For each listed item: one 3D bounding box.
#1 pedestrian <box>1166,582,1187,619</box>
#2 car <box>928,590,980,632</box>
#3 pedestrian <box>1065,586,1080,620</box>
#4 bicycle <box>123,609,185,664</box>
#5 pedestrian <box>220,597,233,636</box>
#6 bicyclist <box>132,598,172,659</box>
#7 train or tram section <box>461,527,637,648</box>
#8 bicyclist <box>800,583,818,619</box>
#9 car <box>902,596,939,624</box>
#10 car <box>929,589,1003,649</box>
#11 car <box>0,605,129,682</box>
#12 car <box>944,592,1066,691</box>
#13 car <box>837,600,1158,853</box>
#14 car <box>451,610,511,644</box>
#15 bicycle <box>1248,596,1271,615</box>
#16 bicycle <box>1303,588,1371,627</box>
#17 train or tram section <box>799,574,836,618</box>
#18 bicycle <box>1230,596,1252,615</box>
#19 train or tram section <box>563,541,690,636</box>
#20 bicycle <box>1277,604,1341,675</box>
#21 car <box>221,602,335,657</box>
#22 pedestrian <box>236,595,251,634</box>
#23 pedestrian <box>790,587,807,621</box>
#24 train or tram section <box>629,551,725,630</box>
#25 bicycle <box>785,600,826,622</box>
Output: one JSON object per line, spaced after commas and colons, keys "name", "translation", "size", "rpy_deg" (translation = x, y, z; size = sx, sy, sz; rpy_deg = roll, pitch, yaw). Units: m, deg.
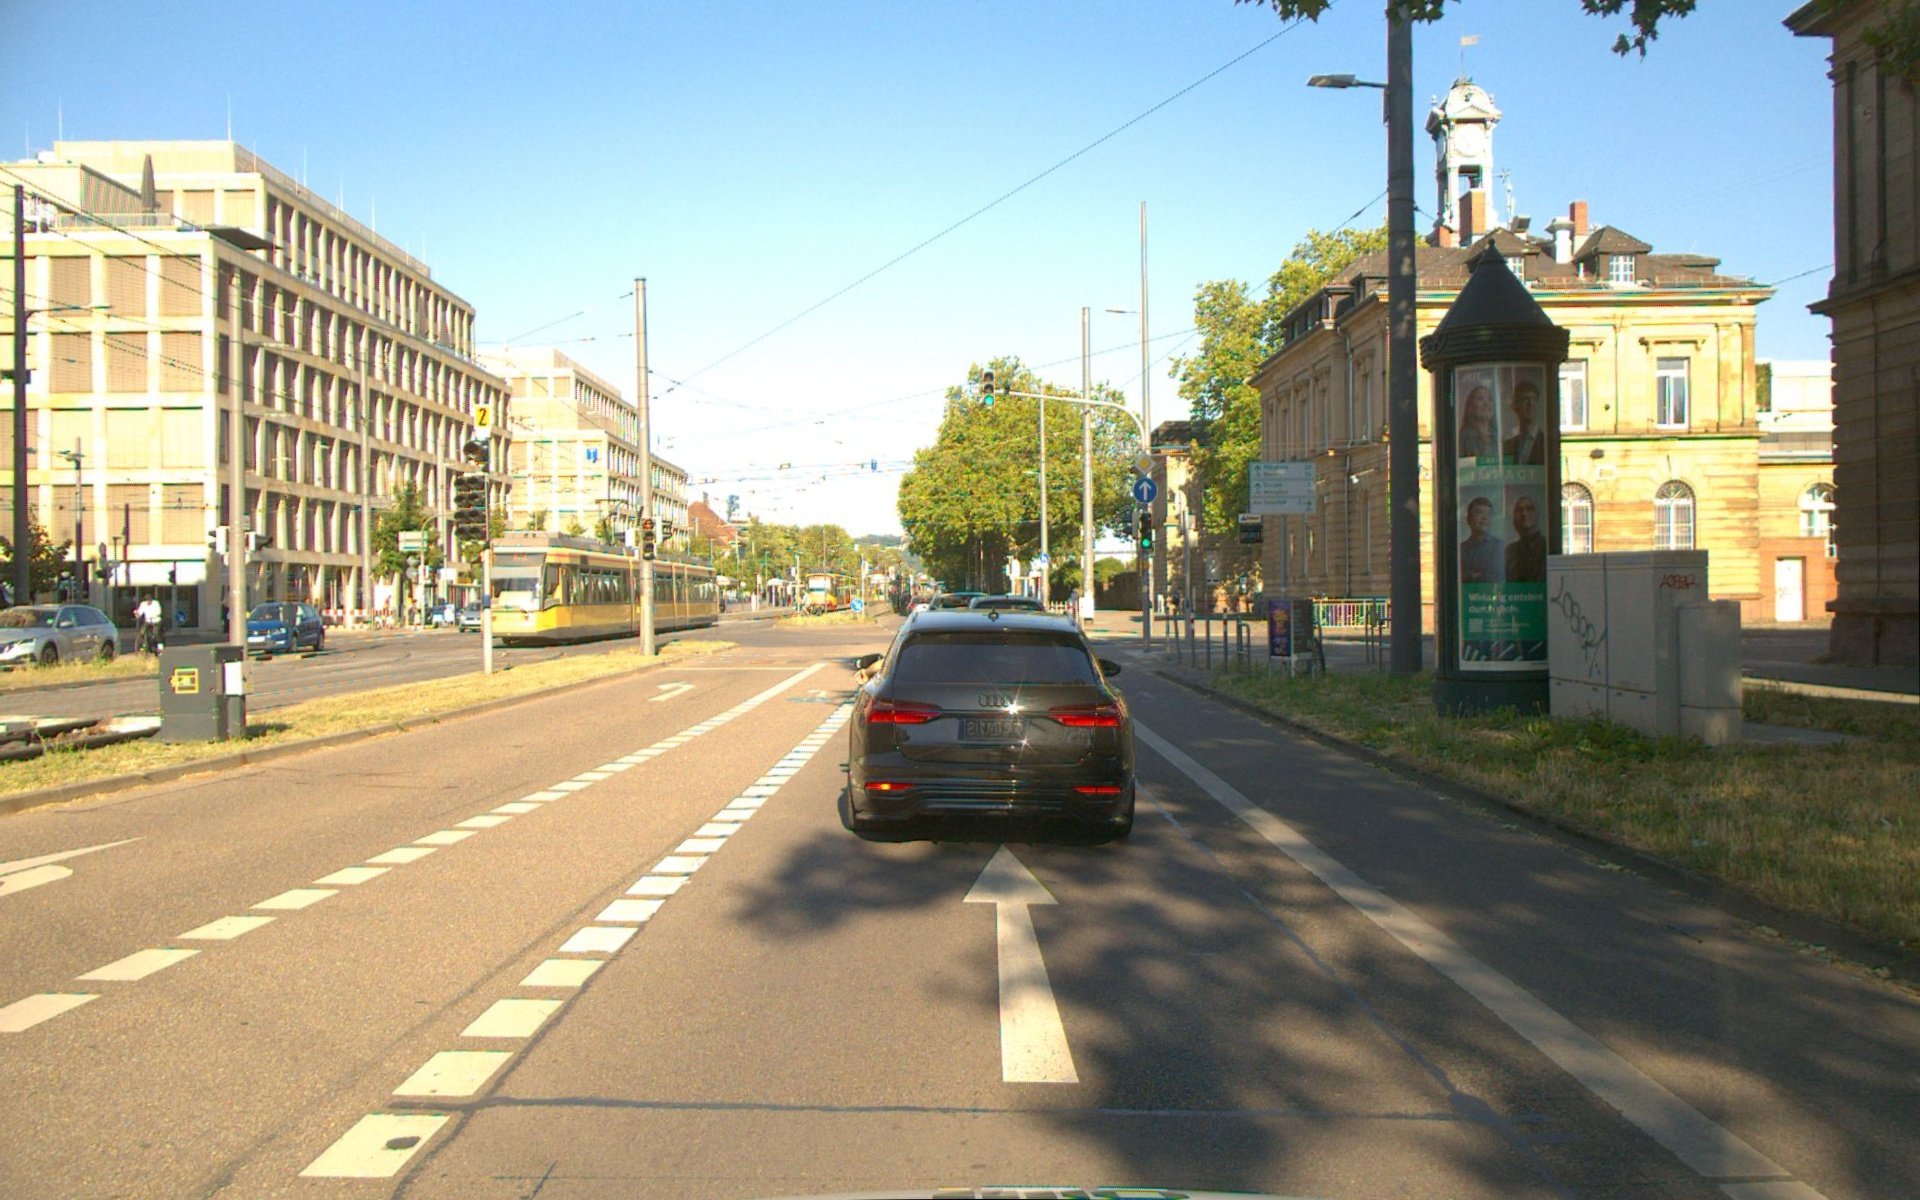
{"name": "pedestrian", "translation": [11.253, 0.019, 85.824], "size": [0.959, 1.898, 0.827], "rpy_deg": [-1, 0, 1]}
{"name": "car", "translation": [-0.239, 0.393, 61.929], "size": [1.864, 1.512, 4.144], "rpy_deg": [1, 0, 0]}
{"name": "pedestrian", "translation": [5.681, 0.145, 83.521], "size": [0.668, 1.690, 0.758], "rpy_deg": [-1, 0, -3]}
{"name": "bicycle", "translation": [-21.760, 0.971, 44.694], "size": [0.671, 1.406, 1.947], "rpy_deg": [-1, 0, 0]}
{"name": "pedestrian", "translation": [-35.368, 0.799, 79.714], "size": [0.469, 1.876, 0.437], "rpy_deg": [-1, 0, -39]}
{"name": "bicyclist", "translation": [-21.757, 0.760, 44.556], "size": [0.671, 1.590, 0.785], "rpy_deg": [-1, 0, 0]}
{"name": "train or tram section", "translation": [-13.430, -0.385, 55.497], "size": [2.756, 3.550, 13.201], "rpy_deg": [-1, 0, -1]}
{"name": "bicyclist", "translation": [-7.842, 0.045, 85.690], "size": [0.745, 1.850, 0.760], "rpy_deg": [-1, 0, -21]}
{"name": "car", "translation": [-2.236, 0.536, 92.367], "size": [1.865, 1.512, 4.141], "rpy_deg": [1, 0, -4]}
{"name": "car", "translation": [0.143, 0.489, 44.387], "size": [1.864, 1.512, 4.144], "rpy_deg": [1, 0, 0]}
{"name": "car", "translation": [-19.230, 0.865, 34.556], "size": [1.785, 1.482, 4.535], "rpy_deg": [-1, 0, -6]}
{"name": "car", "translation": [0.688, 0.646, 27.770], "size": [1.864, 1.512, 4.144], "rpy_deg": [1, 0, 0]}
{"name": "car", "translation": [0.209, 0.744, 11.766], "size": [1.864, 1.446, 4.144], "rpy_deg": [1, 0, 0]}
{"name": "car", "translation": [-22.406, 1.242, 77.492], "size": [1.784, 1.482, 4.154], "rpy_deg": [-1, 0, -3]}
{"name": "bicycle", "translation": [17.120, 0.309, 94.526], "size": [0.516, 1.065, 2.354], "rpy_deg": [-1, 0, -9]}
{"name": "bicycle", "translation": [12.694, 0.261, 55.721], "size": [2.094, 1.230, 0.765], "rpy_deg": [-2, 0, -3]}
{"name": "train or tram section", "translation": [-11.844, -0.359, 138.066], "size": [2.556, 3.511, 11.126], "rpy_deg": [-1, 0, -2]}
{"name": "bicycle", "translation": [16.076, 0.297, 94.528], "size": [0.516, 1.065, 2.354], "rpy_deg": [-1, 0, -9]}
{"name": "train or tram section", "translation": [-13.597, -0.446, 68.699], "size": [2.756, 3.550, 13.201], "rpy_deg": [-1, 0, -1]}
{"name": "bicycle", "translation": [5.609, 0.618, 26.653], "size": [0.529, 1.080, 1.770], "rpy_deg": [-1, 0, -4]}
{"name": "car", "translation": [-19.446, 0.806, 47.339], "size": [1.784, 1.482, 4.153], "rpy_deg": [-1, 0, -4]}
{"name": "pedestrian", "translation": [-34.777, 0.688, 80.291], "size": [0.527, 1.876, 0.437], "rpy_deg": [-1, 0, -39]}
{"name": "pedestrian", "translation": [-8.511, 0.218, 87.044], "size": [0.730, 1.772, 0.659], "rpy_deg": [-1, 0, -23]}
{"name": "train or tram section", "translation": [-13.737, -0.461, 81.390], "size": [2.756, 3.550, 12.151], "rpy_deg": [-1, 0, -1]}
{"name": "bicycle", "translation": [-7.999, 0.565, 85.608], "size": [1.977, 1.127, 0.760], "rpy_deg": [-1, 0, -21]}
